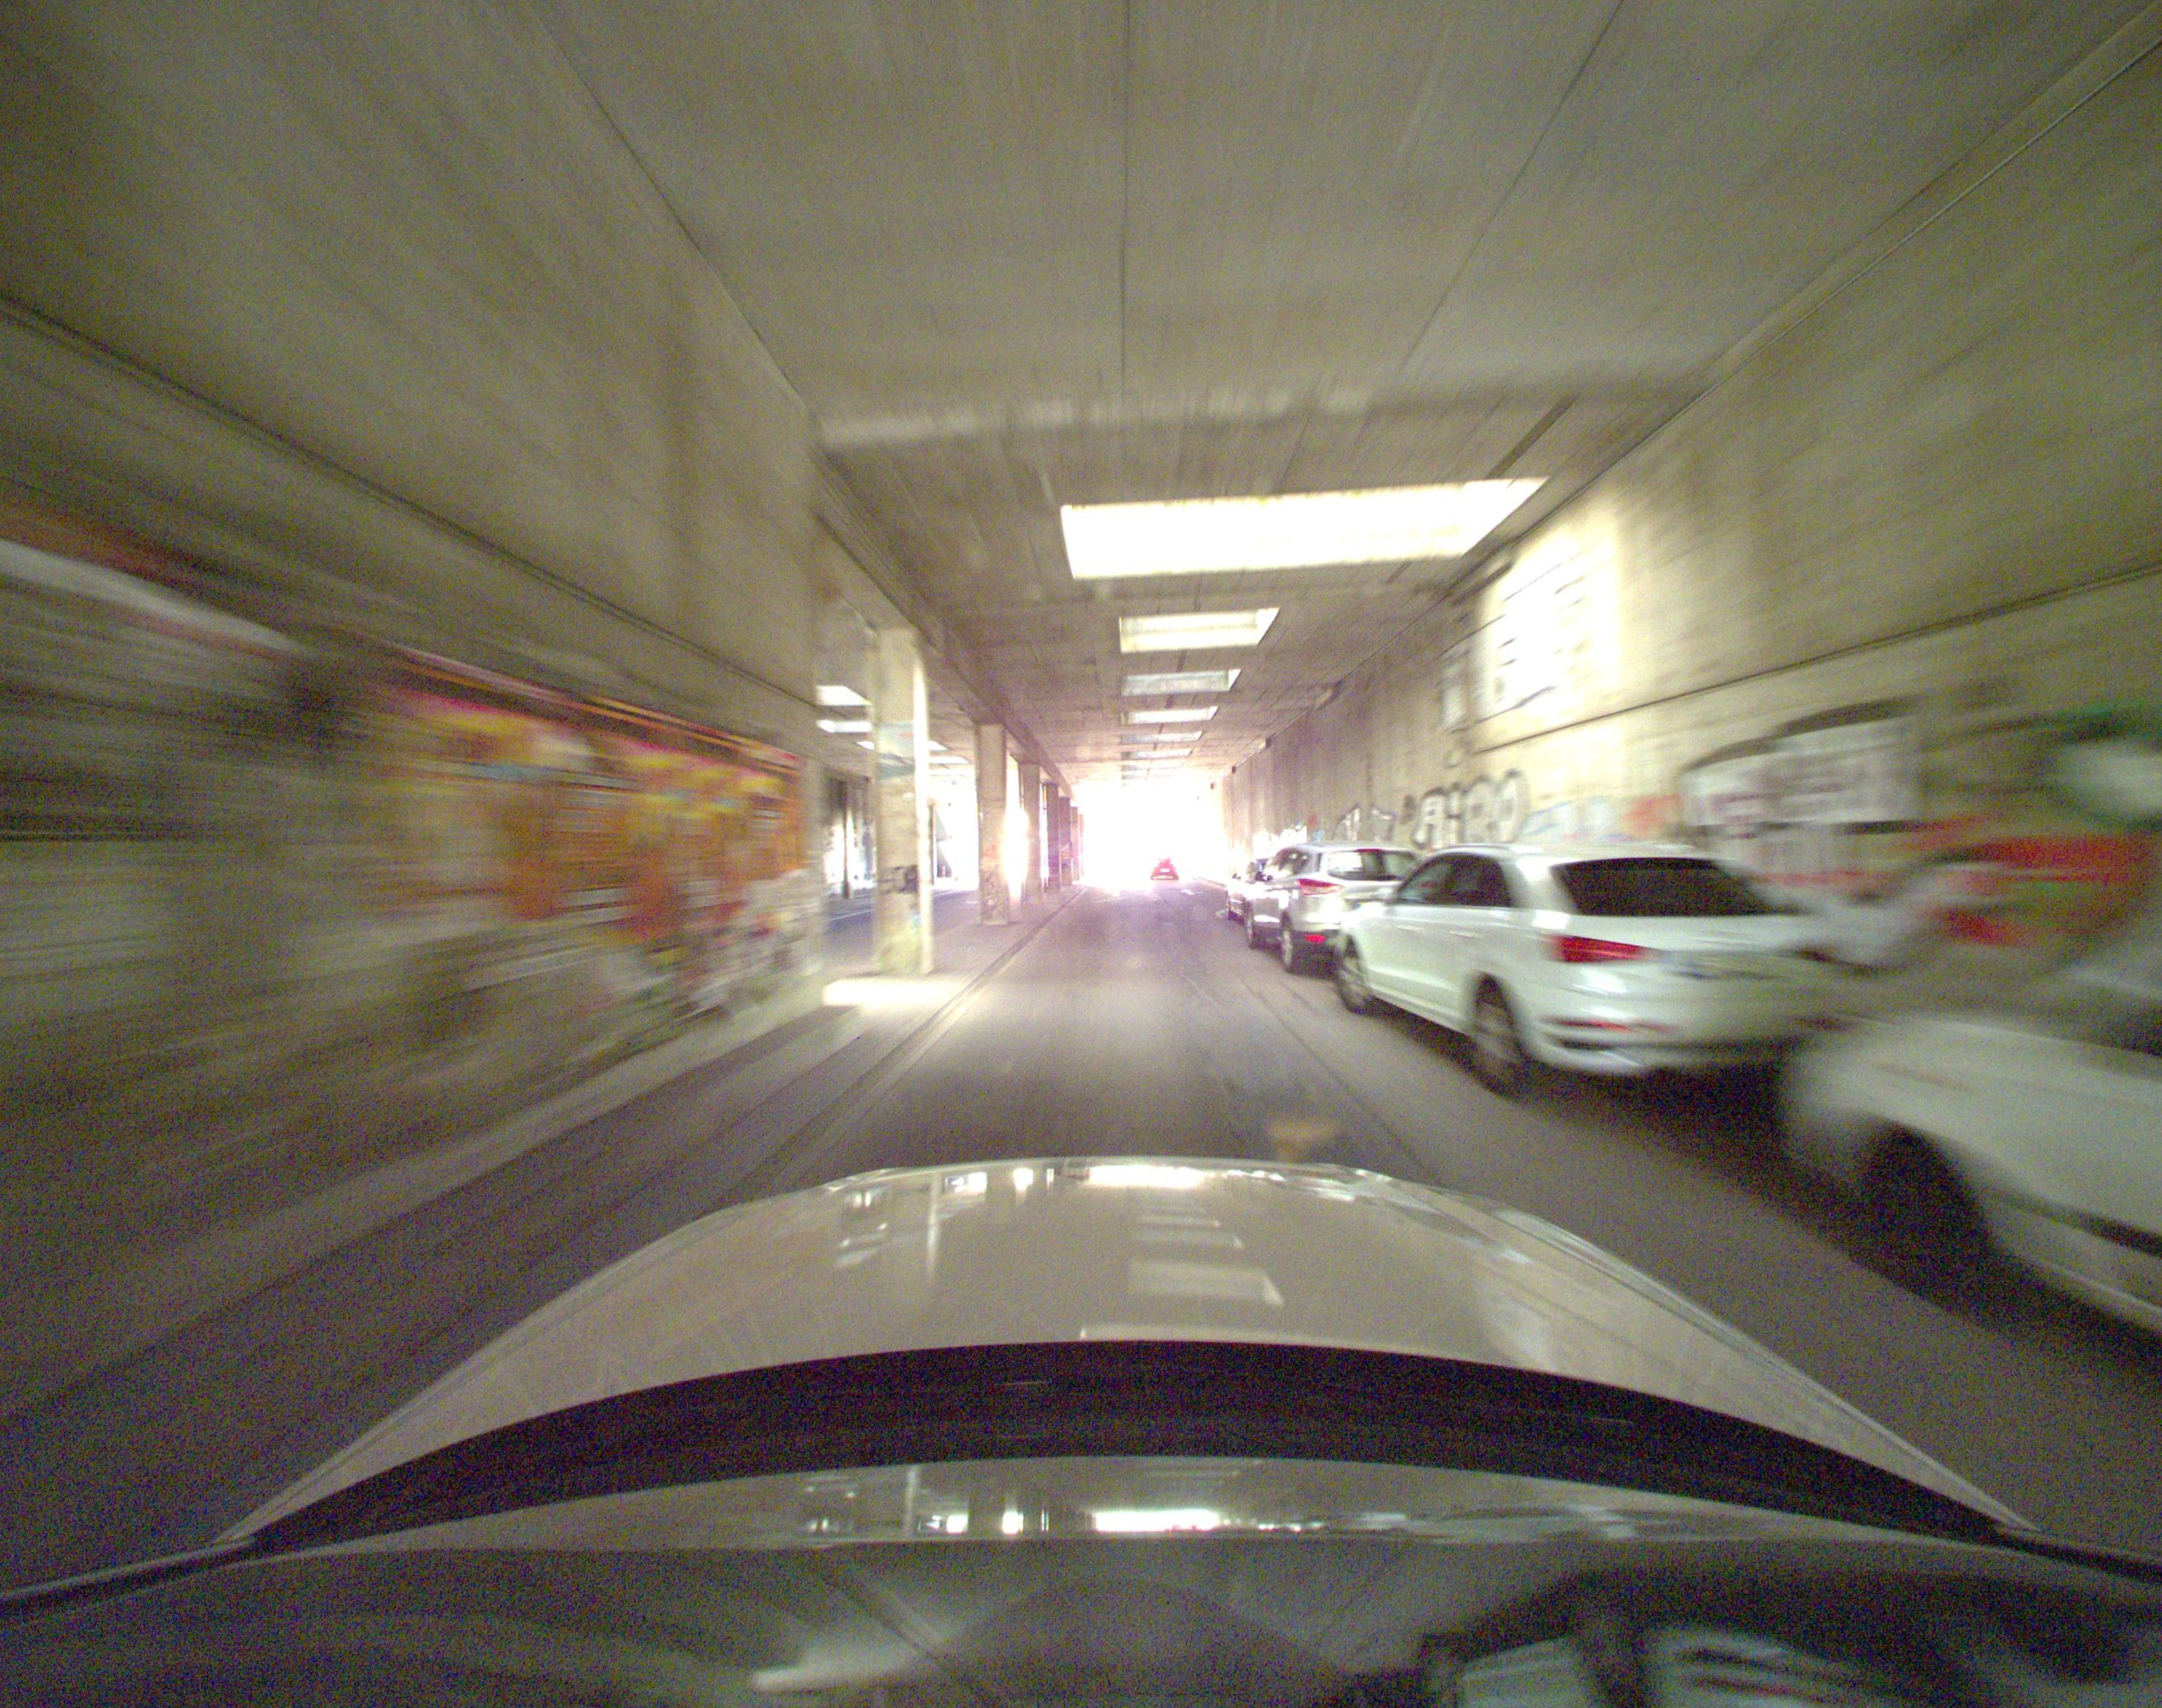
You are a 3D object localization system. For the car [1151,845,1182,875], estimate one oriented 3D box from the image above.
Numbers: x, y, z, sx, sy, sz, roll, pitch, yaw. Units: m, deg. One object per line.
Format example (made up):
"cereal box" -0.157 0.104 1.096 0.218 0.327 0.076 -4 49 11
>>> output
"car" 5.848 0.387 56.270 1.808 1.882 4.589 -2 0 3

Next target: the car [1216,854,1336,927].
"car" 4.095 0.702 17.789 1.694 1.374 4.376 -1 0 2

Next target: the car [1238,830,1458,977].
"car" 3.532 0.561 11.675 1.846 1.666 4.373 -1 0 2

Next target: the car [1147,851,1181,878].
"car" 5.023 0.629 49.709 1.818 1.501 4.215 -2 0 3

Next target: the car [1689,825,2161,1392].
"car" 3.627 0.641 1.892 1.599 1.487 3.635 -2 -1 -2

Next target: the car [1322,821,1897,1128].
"car" 3.395 0.647 6.355 1.724 1.546 4.154 -2 -1 -1

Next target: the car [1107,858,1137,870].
"car" 5.710 1.368 112.813 3.966 1.574 1.643 -2 -1 6
